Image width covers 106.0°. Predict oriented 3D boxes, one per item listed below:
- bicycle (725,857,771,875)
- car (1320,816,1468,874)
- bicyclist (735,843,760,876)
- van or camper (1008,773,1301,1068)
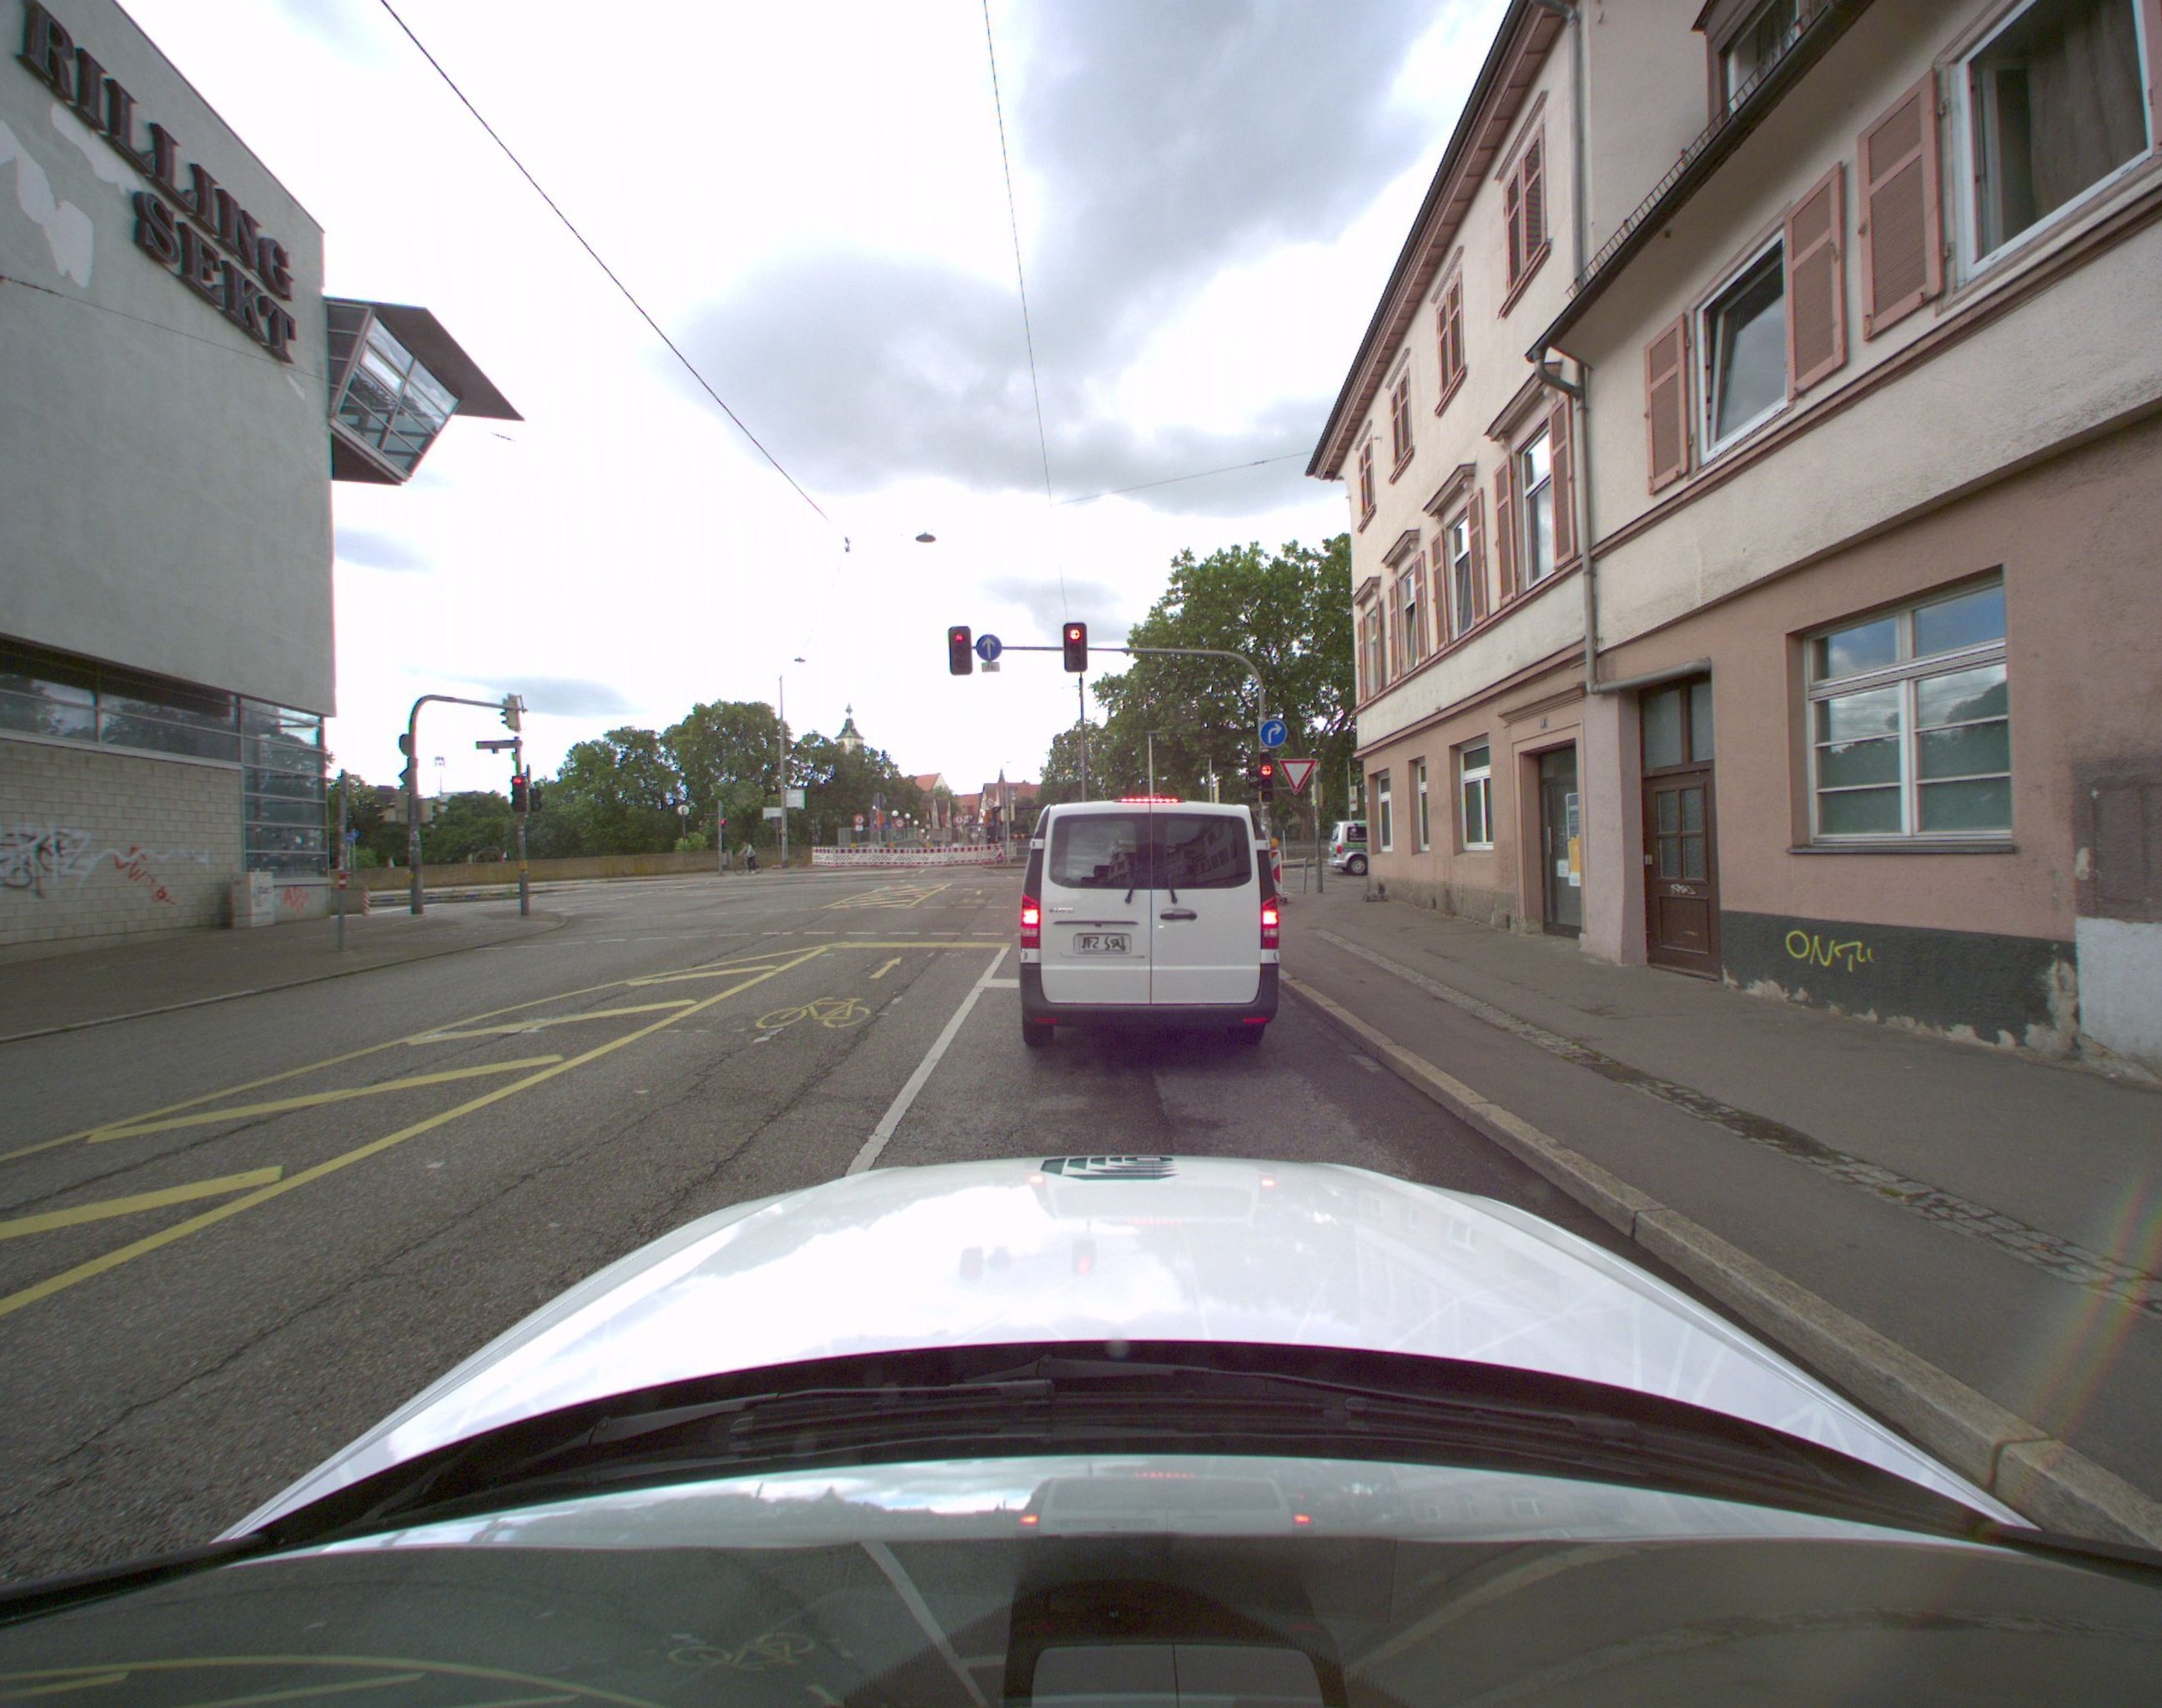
[{"bbox_3d":[-17.839,0.633,43.623,2.150,0.892,0.751,-3,2,-42],"label":"bicycle"},{"bbox_3d":[10.459,-0.328,27.494,4.324,1.802,2.004,-1,4,6],"label":"car"},{"bbox_3d":[-17.848,0.268,43.611,1.010,1.743,0.746,-2,1,-40],"label":"bicyclist"},{"bbox_3d":[0.416,0.449,7.600,1.933,1.925,4.437,0,-1,-2],"label":"van or camper"}]
